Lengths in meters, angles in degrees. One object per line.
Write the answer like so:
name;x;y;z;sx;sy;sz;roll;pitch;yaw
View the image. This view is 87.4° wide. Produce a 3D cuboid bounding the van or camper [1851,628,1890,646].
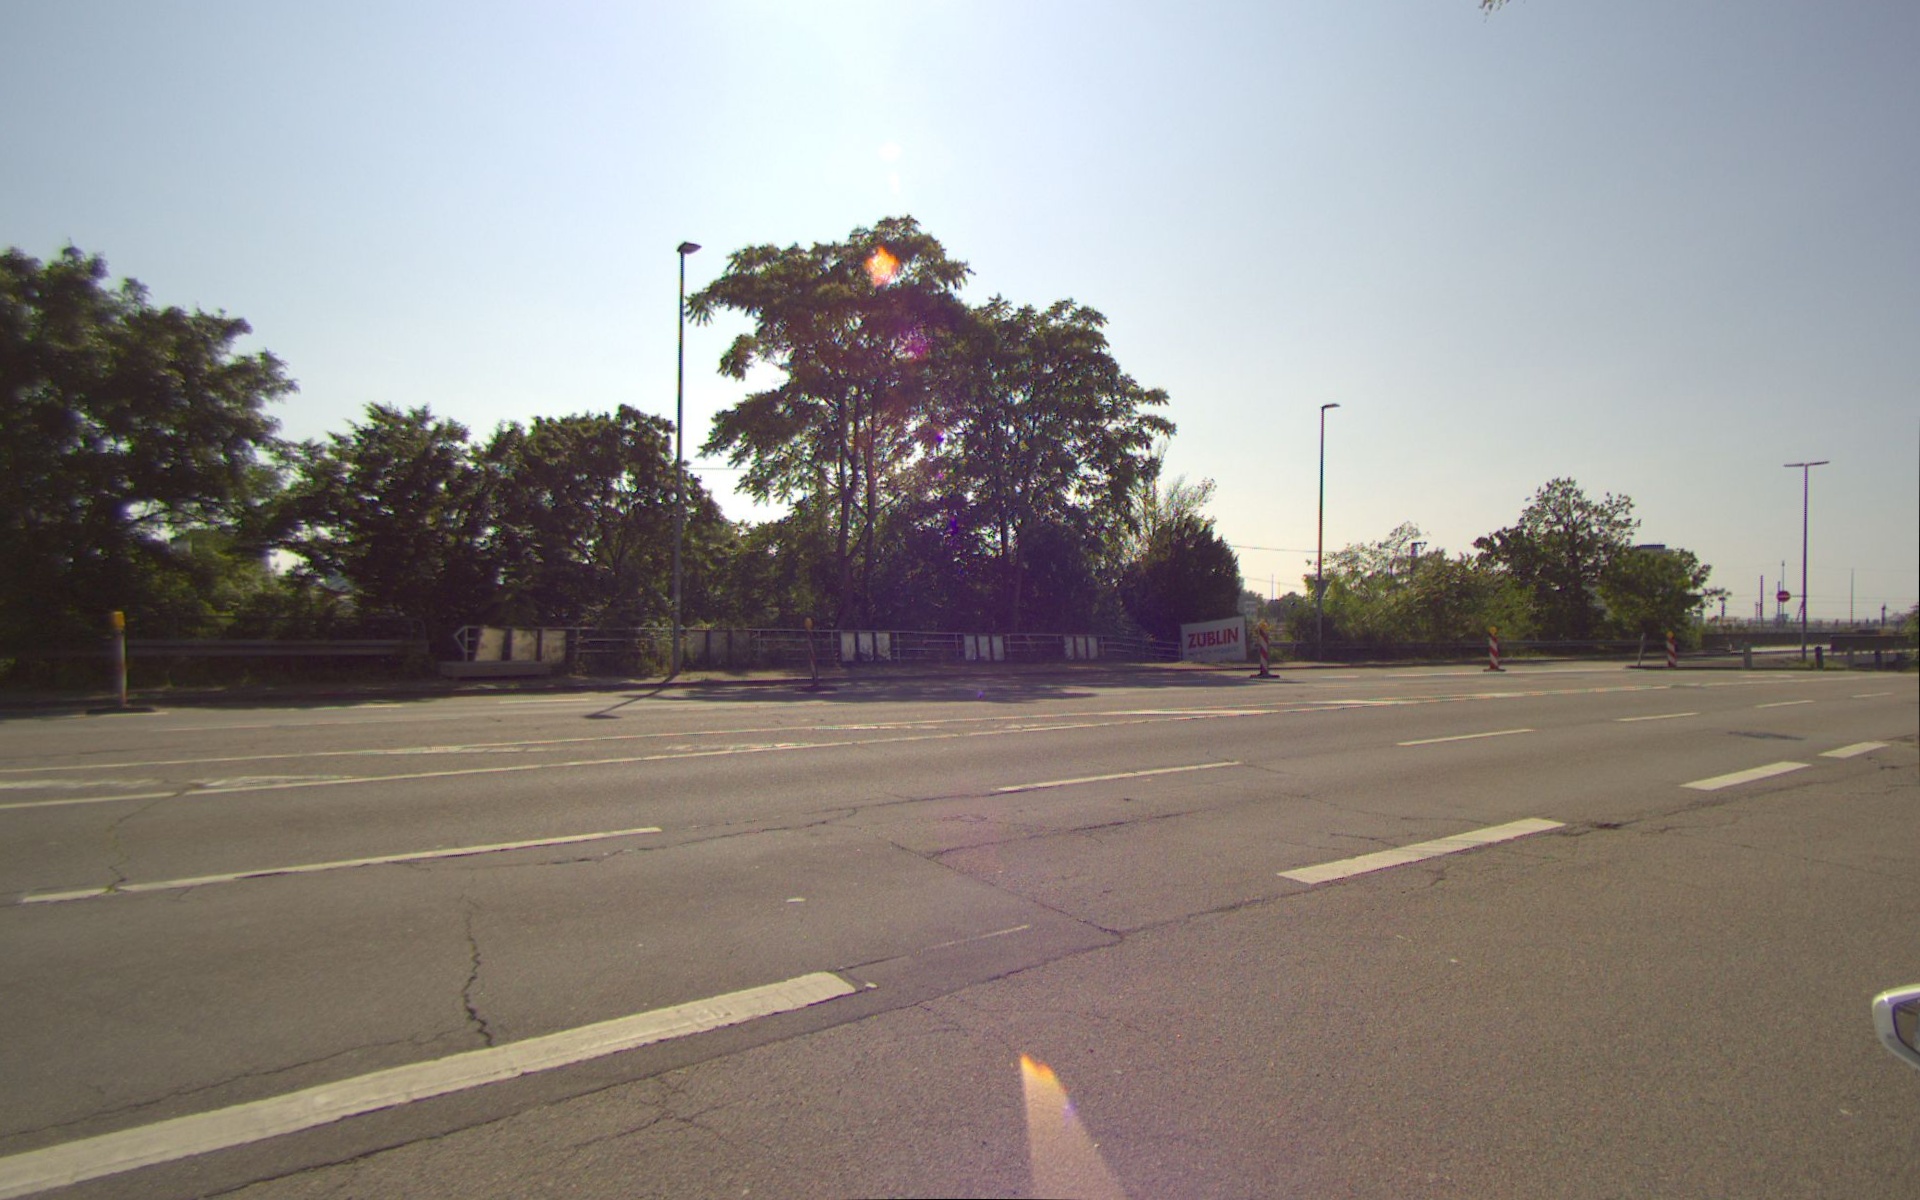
van or camper;73.915;2.974;81.519;4.587;1.368;1.456;1;-1;-37
